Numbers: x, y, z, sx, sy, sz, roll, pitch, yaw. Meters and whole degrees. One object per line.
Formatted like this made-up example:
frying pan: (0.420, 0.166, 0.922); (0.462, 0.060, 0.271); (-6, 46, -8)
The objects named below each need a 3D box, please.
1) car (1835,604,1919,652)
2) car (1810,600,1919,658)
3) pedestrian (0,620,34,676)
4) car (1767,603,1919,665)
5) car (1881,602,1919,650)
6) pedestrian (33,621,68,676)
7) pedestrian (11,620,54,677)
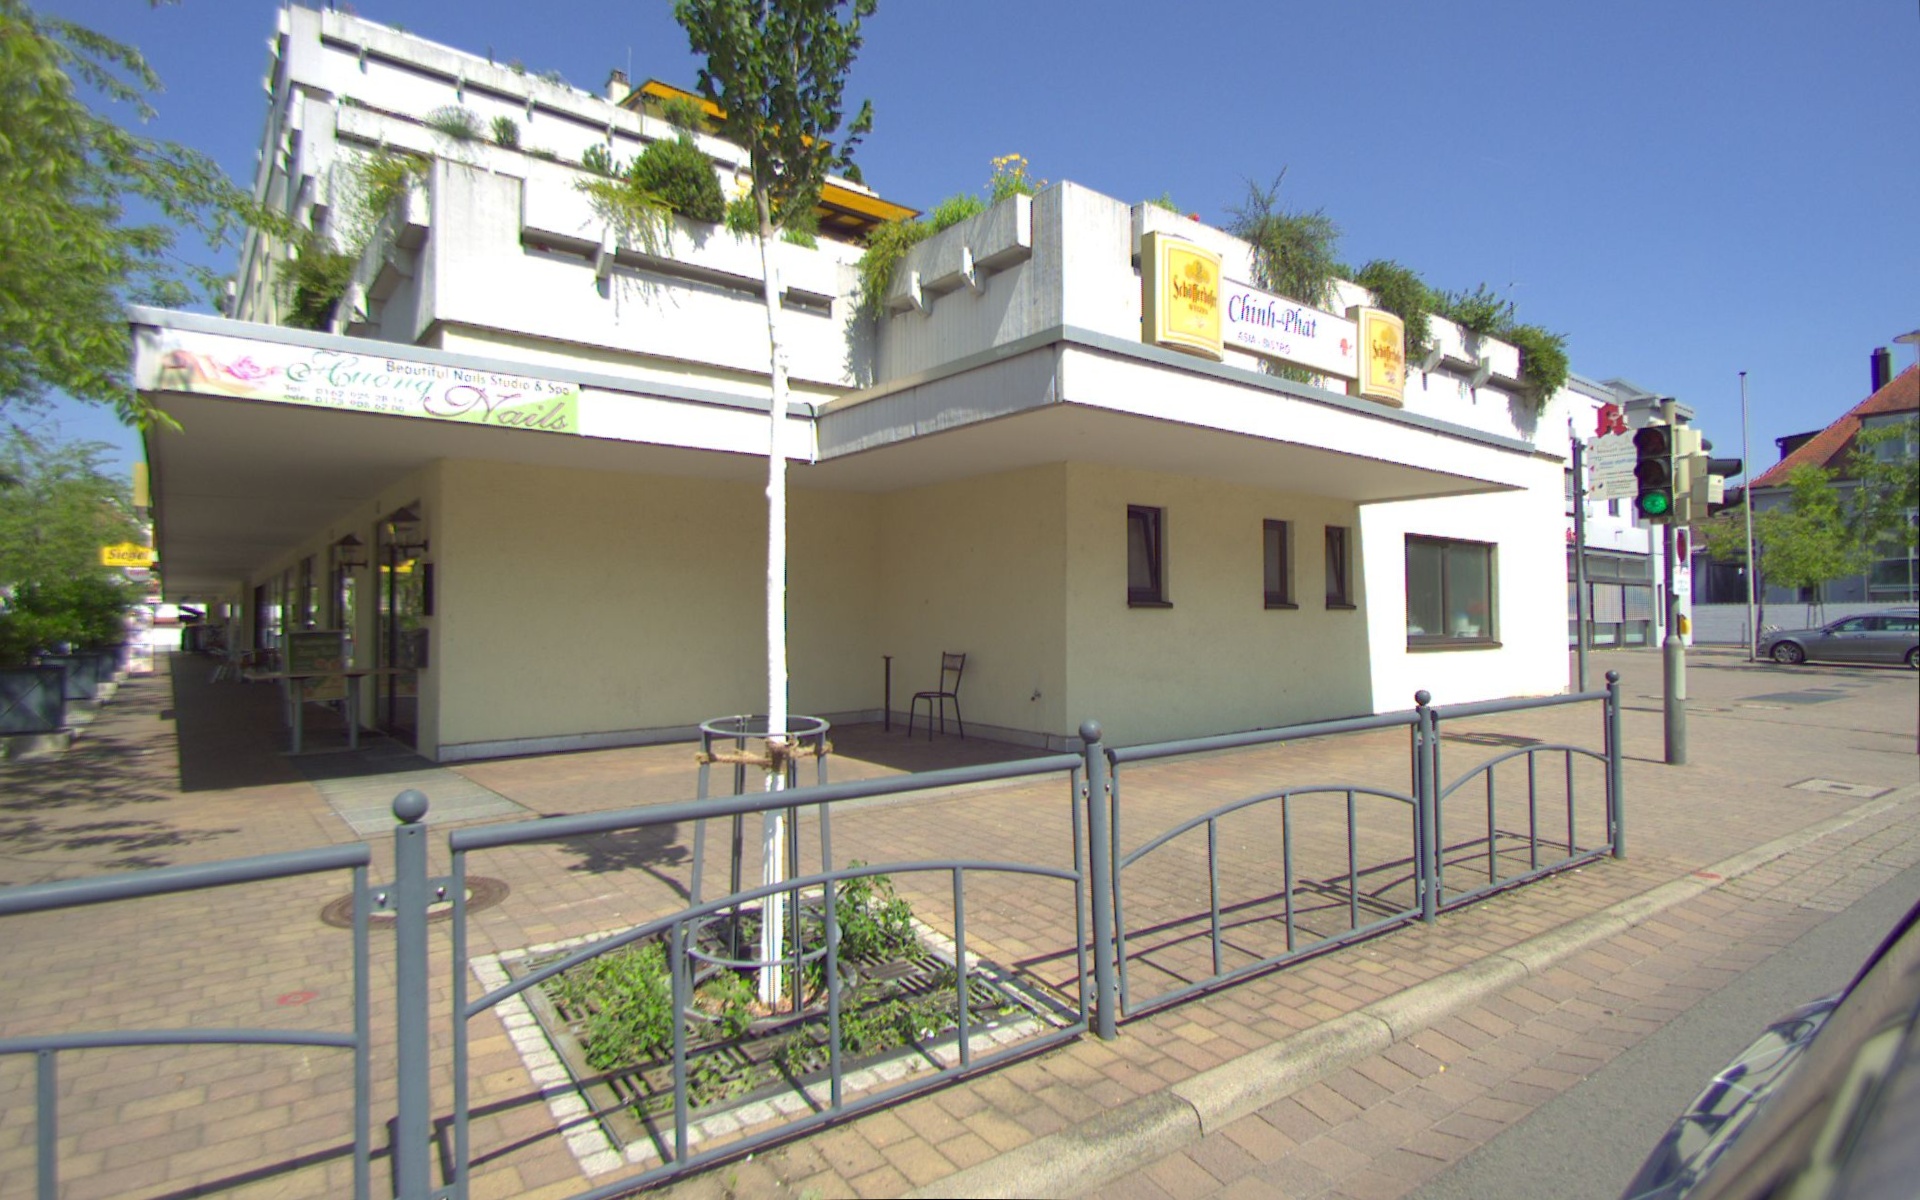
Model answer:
car: (30.384, 0.893, 31.660); (1.628, 1.460, 4.437); (1, 0, -43)
car: (26.475, 0.797, 28.249); (1.683, 1.579, 4.040); (1, 0, -41)
pedestrian: (-31.265, 1.587, 33.505); (0.804, 1.810, 0.827); (-1, -2, 45)
car: (24.196, 0.865, 26.596); (1.661, 1.484, 4.440); (0, 1, -41)
car: (32.493, 0.846, 33.027); (1.464, 1.572, 3.427); (1, -1, -40)
pedestrian: (-31.000, 1.640, 34.494); (0.804, 1.810, 0.827); (-1, -2, 45)
pedestrian: (-30.231, 1.579, 32.996); (0.823, 1.810, 0.808); (0, -1, -27)
